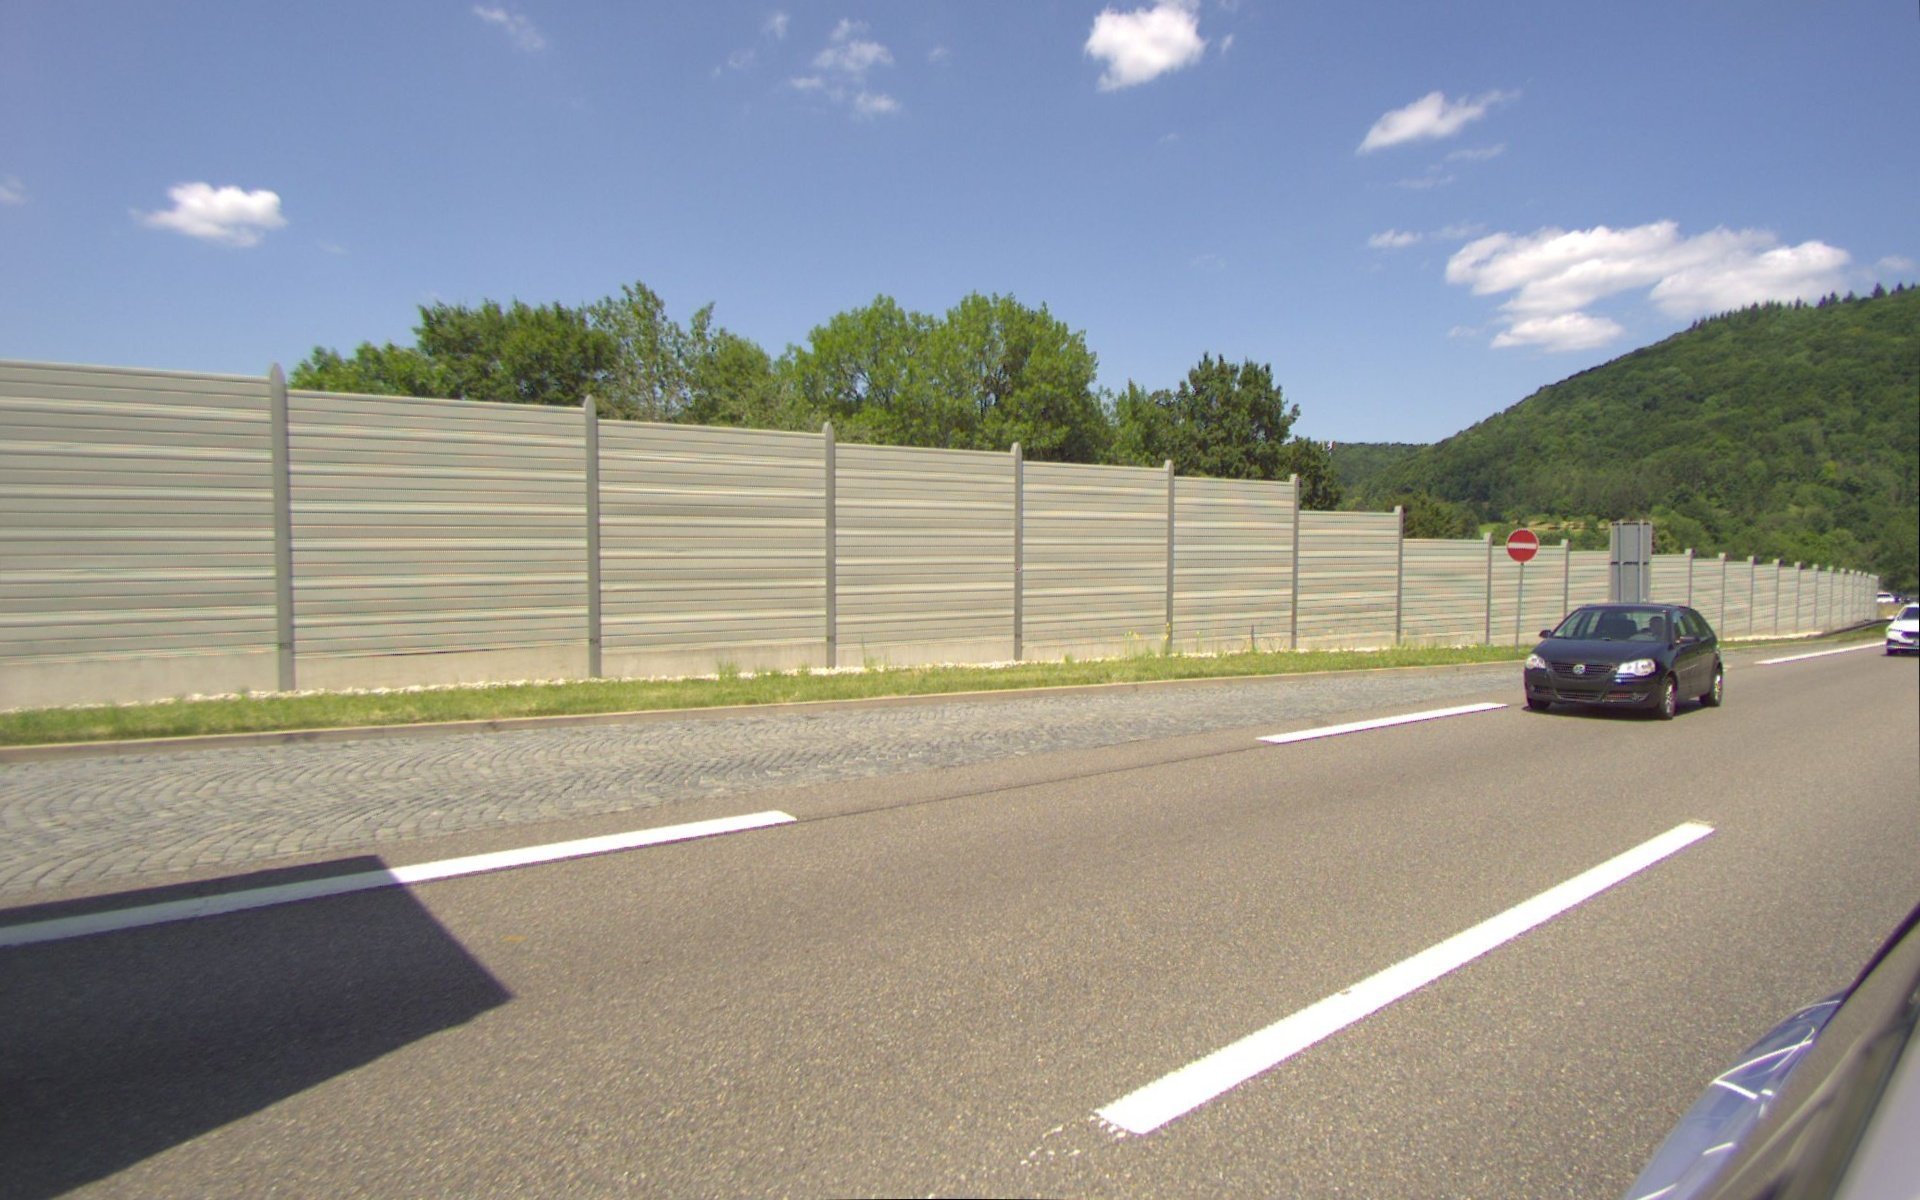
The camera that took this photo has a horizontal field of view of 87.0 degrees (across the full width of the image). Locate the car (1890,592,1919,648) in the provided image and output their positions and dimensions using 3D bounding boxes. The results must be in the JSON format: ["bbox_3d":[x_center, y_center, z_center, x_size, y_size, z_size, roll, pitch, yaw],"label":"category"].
[{"bbox_3d":[27.165,0.534,27.897,3.658,1.448,1.905,-1,1,-42],"label":"car"}]

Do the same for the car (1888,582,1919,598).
[{"bbox_3d":[122.241,-1.311,131.123,1.982,2.039,3.960,-1,0,29],"label":"car"}]

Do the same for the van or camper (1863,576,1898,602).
[{"bbox_3d":[110.755,-1.300,121.810,1.892,3.066,4.828,-1,0,27],"label":"van or camper"}]

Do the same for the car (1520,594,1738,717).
[{"bbox_3d":[9.258,0.642,13.901,3.774,1.440,1.693,-1,0,-43],"label":"car"}]
